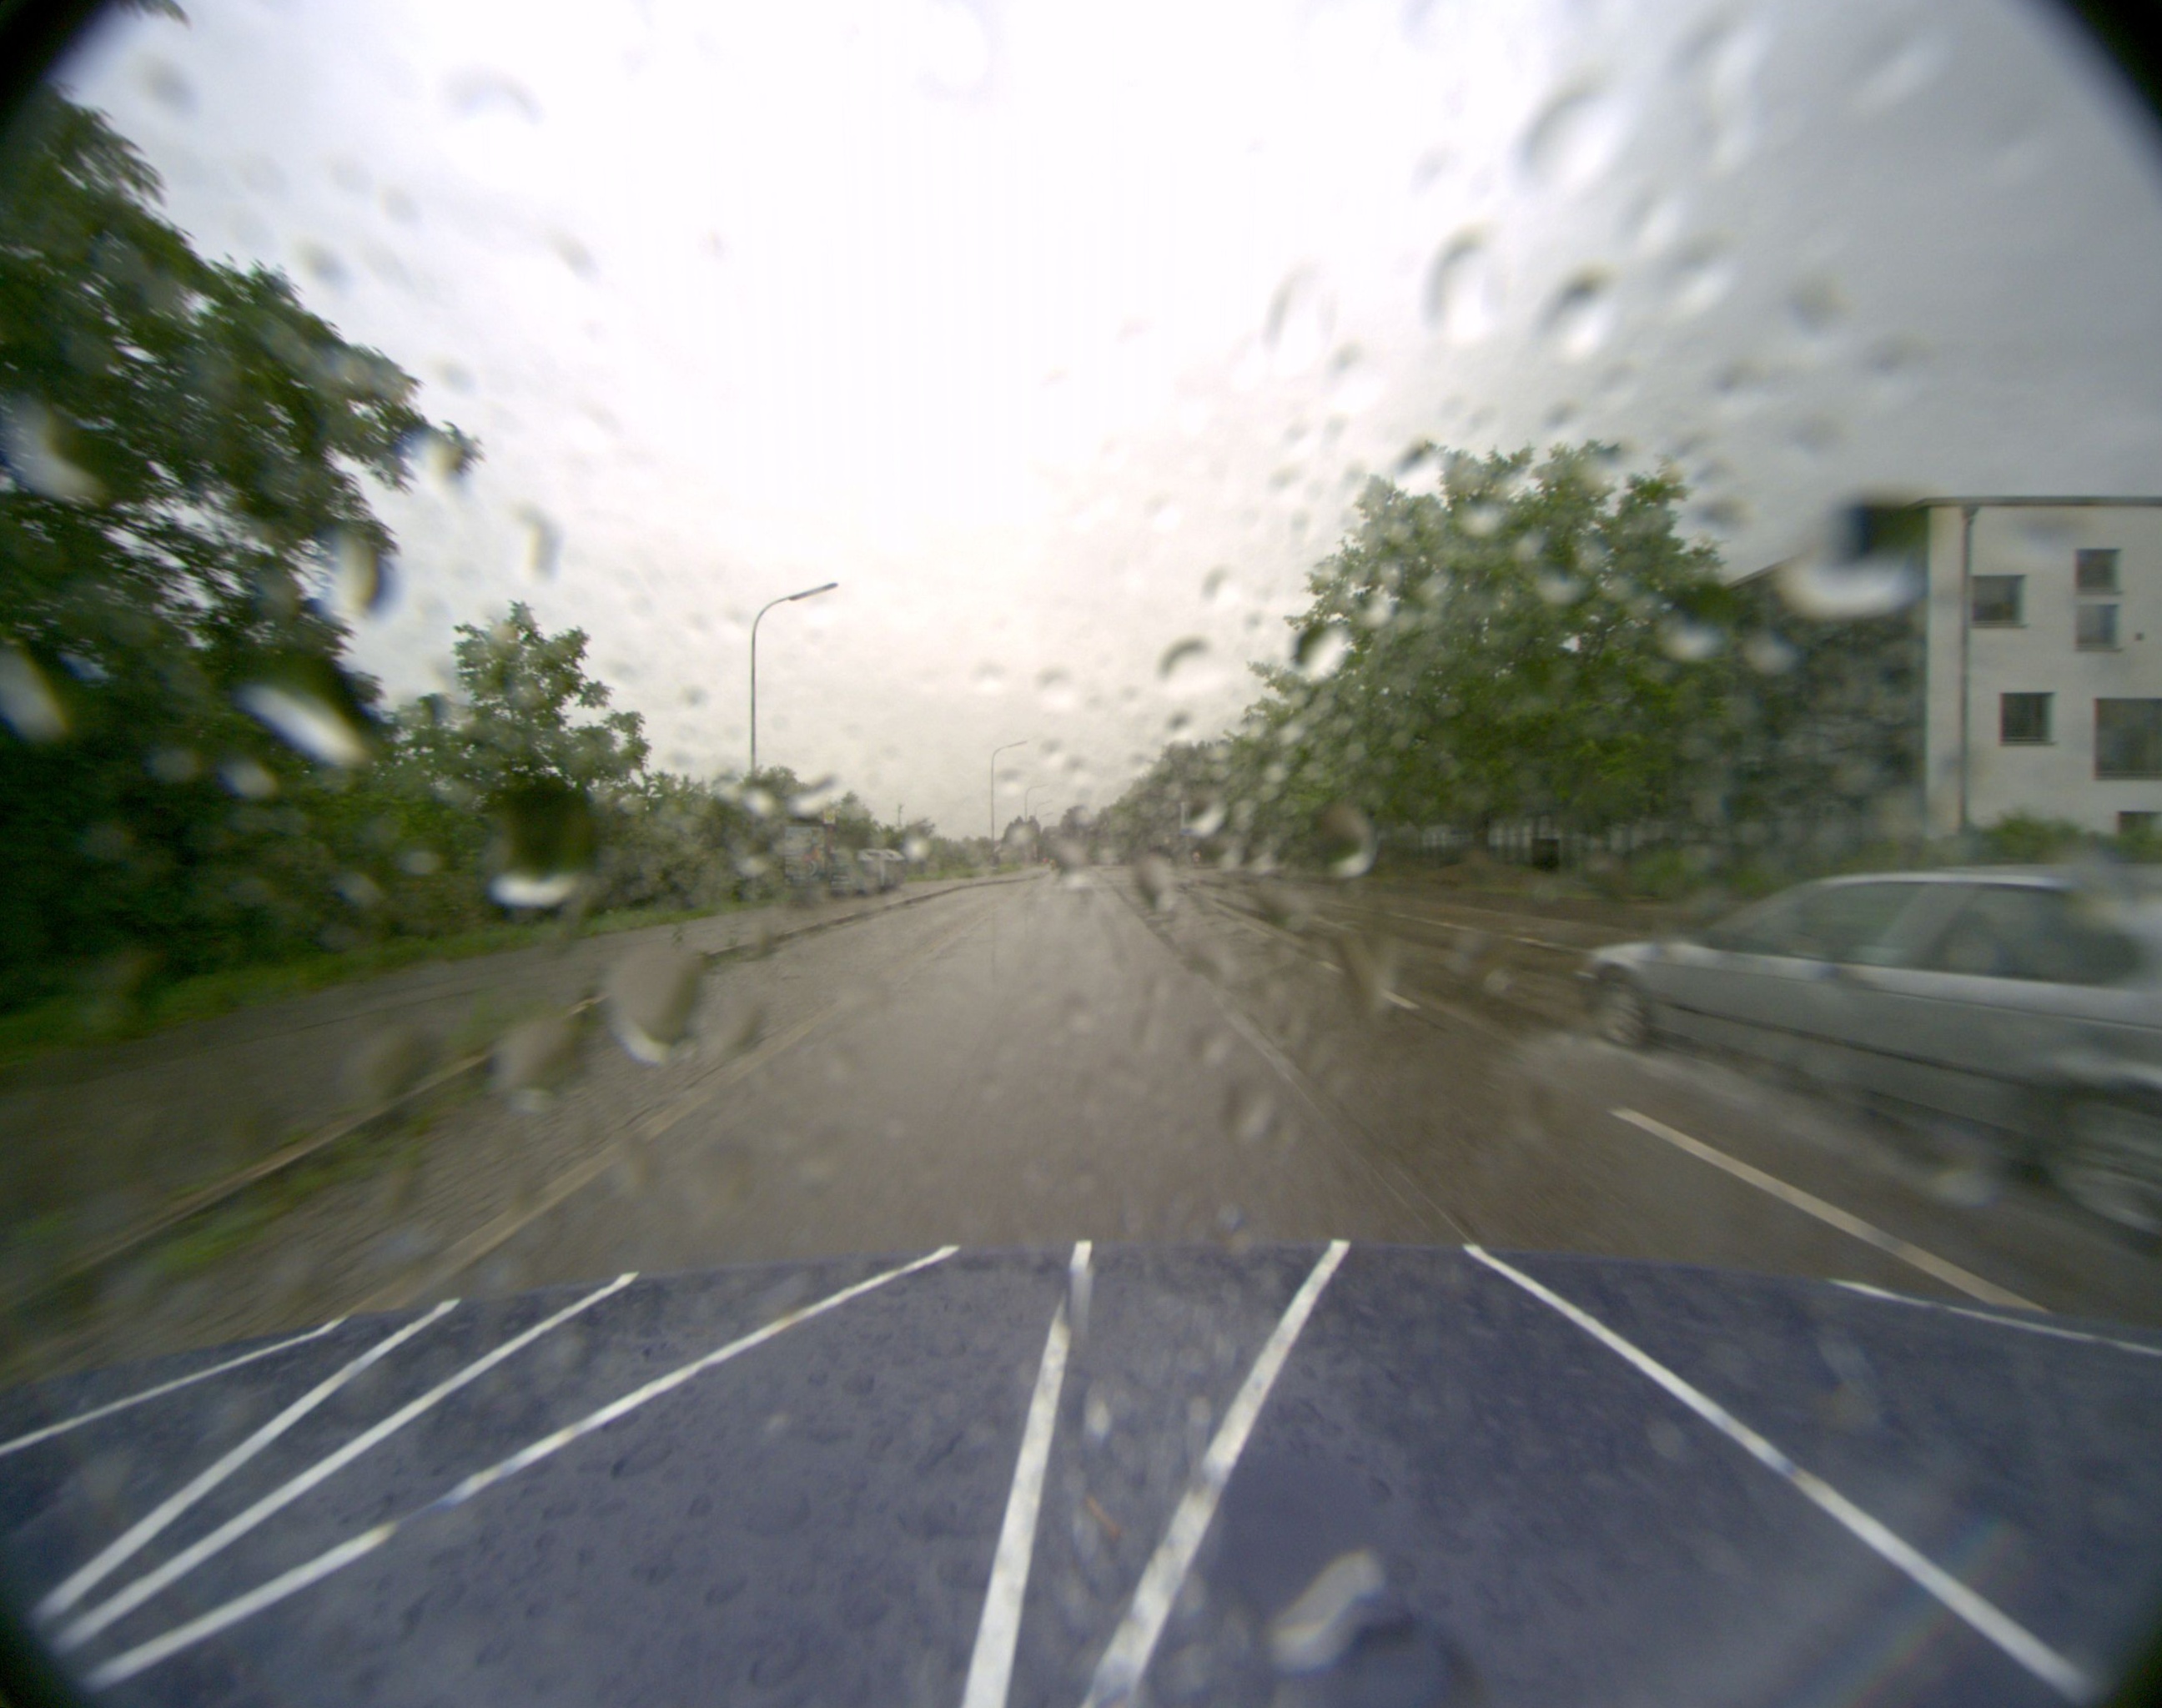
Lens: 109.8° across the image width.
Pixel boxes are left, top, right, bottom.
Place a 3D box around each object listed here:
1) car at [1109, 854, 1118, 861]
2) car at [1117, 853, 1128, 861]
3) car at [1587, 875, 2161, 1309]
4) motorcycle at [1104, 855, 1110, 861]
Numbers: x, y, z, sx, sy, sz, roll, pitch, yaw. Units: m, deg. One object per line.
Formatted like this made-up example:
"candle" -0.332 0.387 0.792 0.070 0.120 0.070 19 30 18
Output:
"car" 6.926 0.828 161.626 1.438 1.528 2.817 0 0 -11
"car" 8.233 0.618 150.725 1.691 1.411 4.739 0 0 -4
"car" 4.501 0.842 3.575 1.706 1.342 3.905 -1 0 1
"motorcycle" 5.791 0.959 168.740 0.840 1.333 2.497 0 0 -9
